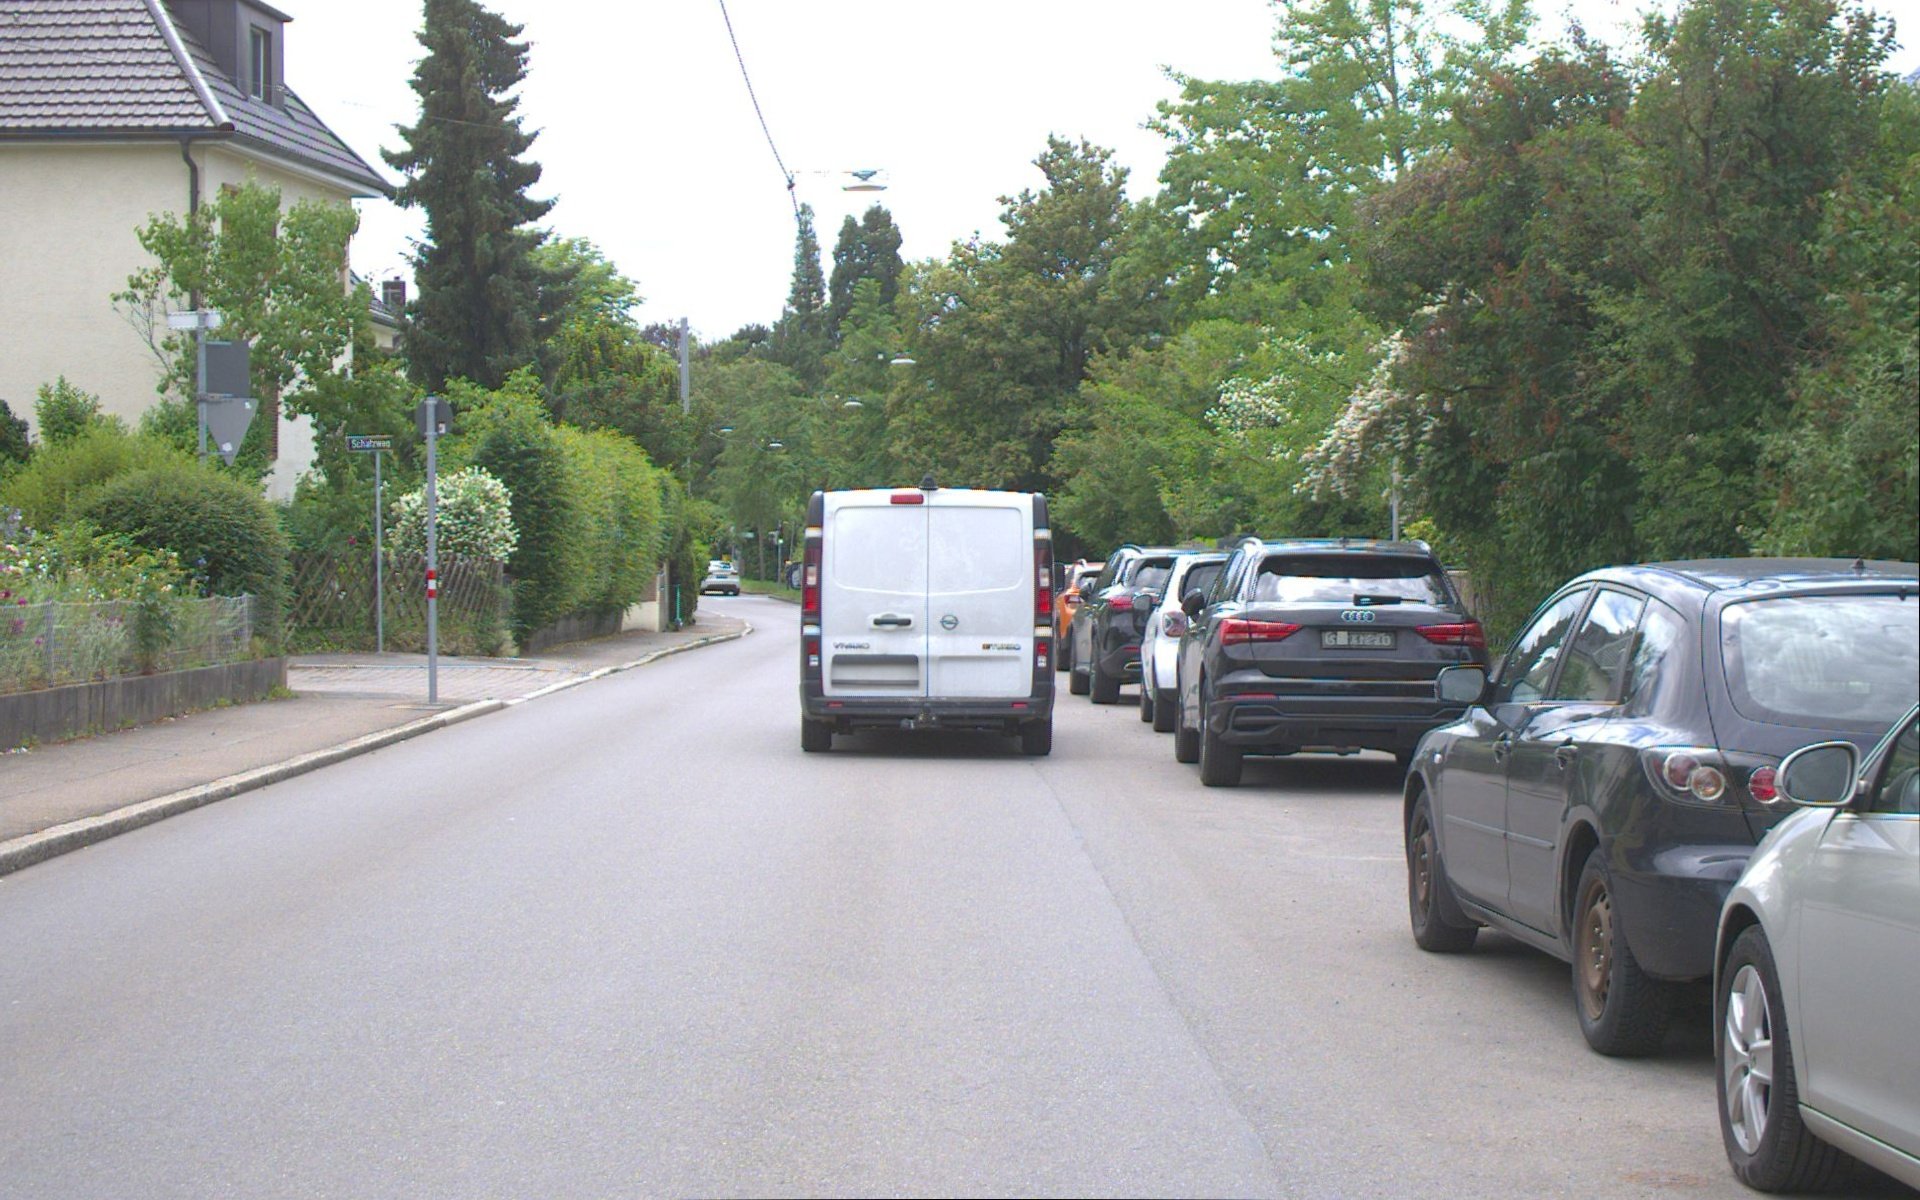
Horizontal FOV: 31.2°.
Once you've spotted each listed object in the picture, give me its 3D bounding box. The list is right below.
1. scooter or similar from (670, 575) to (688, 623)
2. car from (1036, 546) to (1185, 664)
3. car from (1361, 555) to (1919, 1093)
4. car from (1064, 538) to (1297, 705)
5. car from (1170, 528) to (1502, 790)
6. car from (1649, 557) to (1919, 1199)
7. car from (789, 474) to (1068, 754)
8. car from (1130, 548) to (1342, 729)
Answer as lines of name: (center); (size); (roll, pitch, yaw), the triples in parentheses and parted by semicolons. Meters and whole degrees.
scooter or similar: (-6.946, -0.025, 84.948); (0.391, 1.167, 1.270); (0, 0, -2)
car: (2.177, 0.068, 50.813); (1.850, 1.621, 4.170); (2, 0, -2)
car: (2.576, 0.594, 11.540); (1.716, 1.455, 4.142); (0, 1, -4)
car: (2.285, 0.209, 36.731); (1.950, 1.621, 4.377); (2, 0, -3)
car: (2.419, 0.346, 23.036); (1.801, 1.586, 4.141); (0, 0, 1)
car: (2.732, 0.671, 6.520); (1.756, 1.472, 4.359); (0, 1, -3)
car: (-0.333, 0.067, 26.591); (1.929, 1.957, 4.402); (1, 1, -3)
car: (2.377, 0.315, 30.208); (1.598, 1.505, 3.013); (0, 0, 0)
